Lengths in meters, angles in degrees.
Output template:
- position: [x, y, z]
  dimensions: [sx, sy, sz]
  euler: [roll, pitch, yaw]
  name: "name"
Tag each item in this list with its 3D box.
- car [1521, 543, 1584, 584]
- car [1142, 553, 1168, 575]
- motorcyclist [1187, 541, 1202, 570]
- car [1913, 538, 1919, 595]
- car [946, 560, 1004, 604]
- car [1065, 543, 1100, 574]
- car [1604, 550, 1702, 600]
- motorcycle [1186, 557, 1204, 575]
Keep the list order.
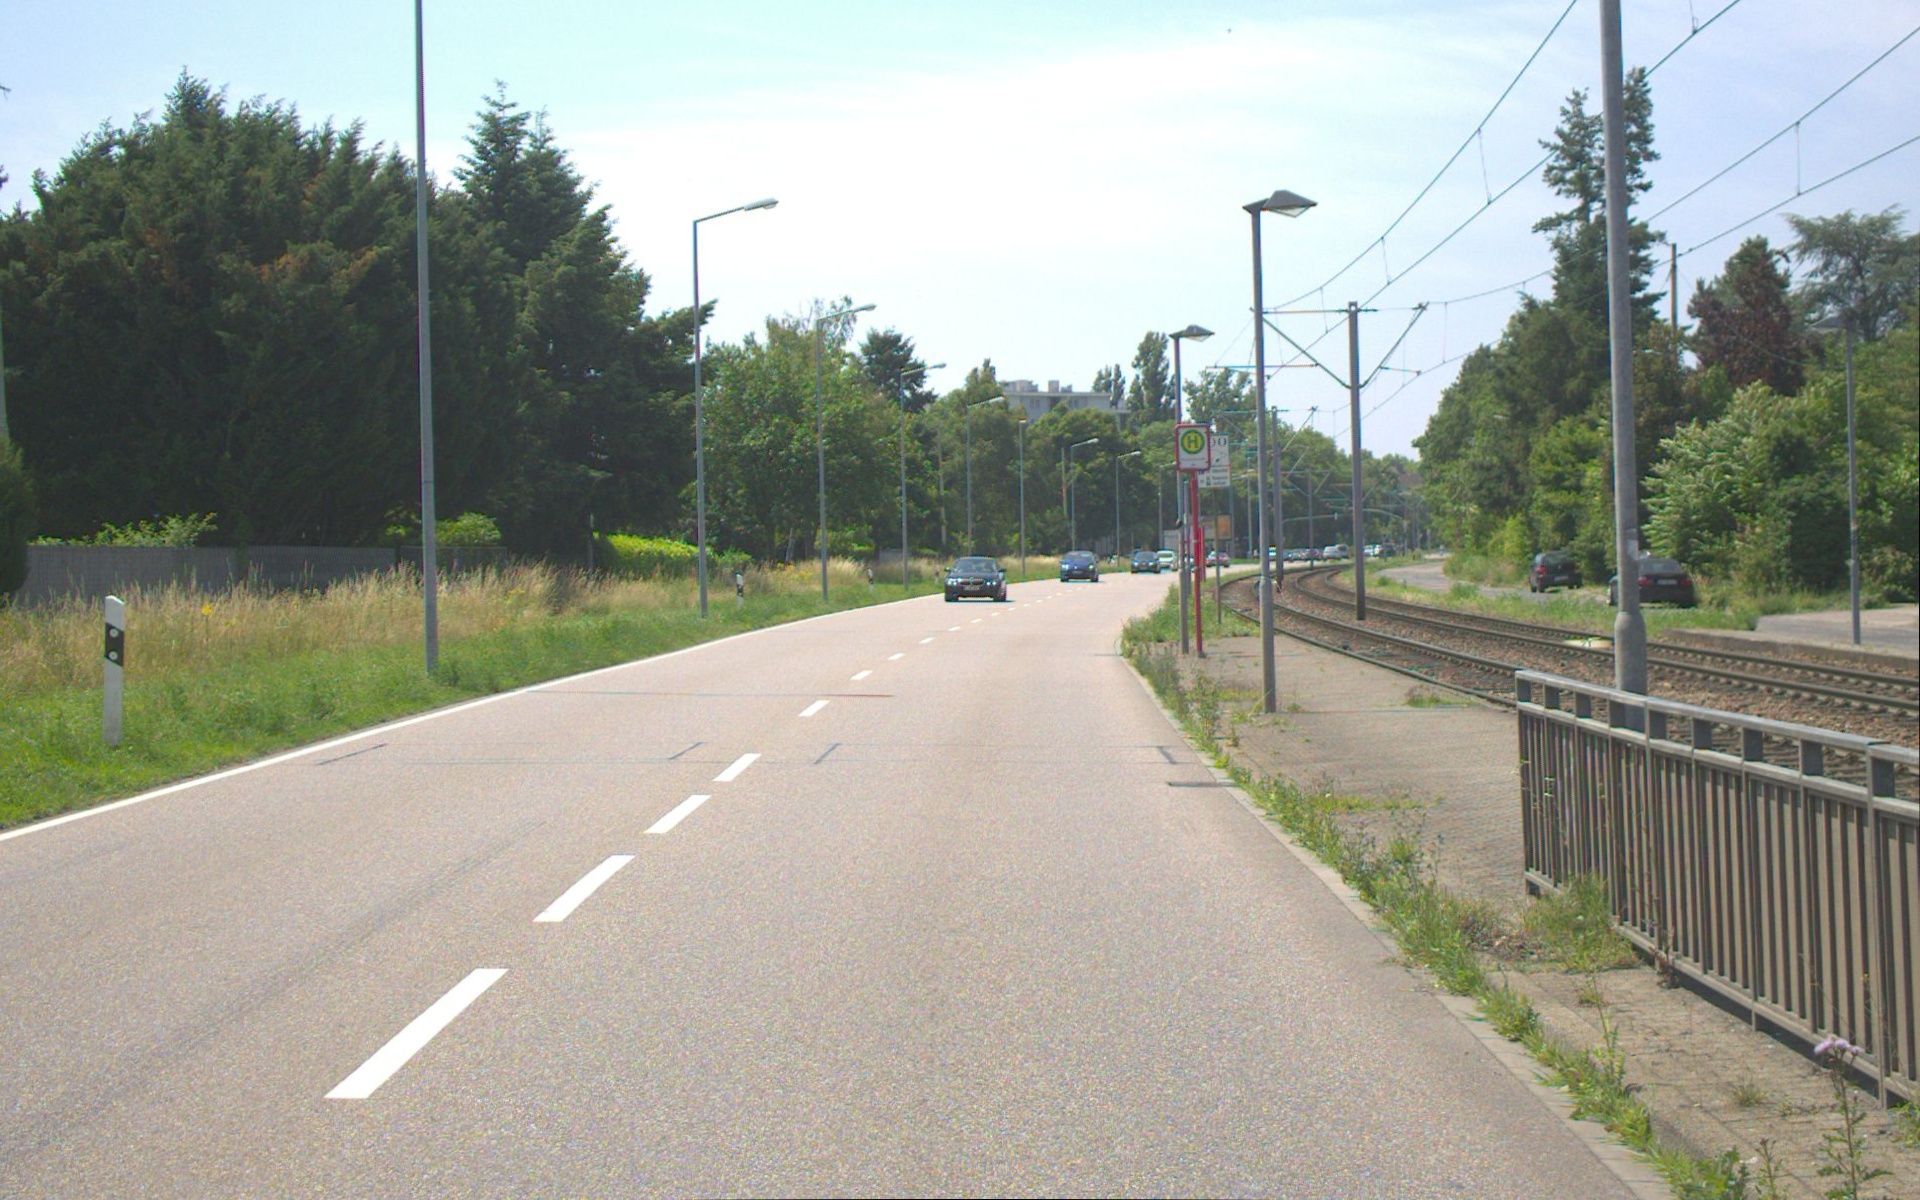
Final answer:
- position: [21.801, -1.329, 126.563]
  dimensions: [1.914, 1.465, 3.999]
  euler: [0, 0, 4]
  name: "car"
- position: [13.364, -2.437, 235.481]
  dimensions: [1.701, 1.486, 4.439]
  euler: [0, 0, 4]
  name: "car"
- position: [15.245, -2.884, 223.369]
  dimensions: [0.892, 1.898, 1.015]
  euler: [0, 0, 9]
  name: "motorcyclist"
- position: [24.717, -0.818, 84.313]
  dimensions: [1.720, 1.414, 3.739]
  euler: [0, 0, 2]
  name: "car"
- position: [0.499, -0.603, 112.860]
  dimensions: [1.706, 1.400, 4.707]
  euler: [0, 0, 3]
  name: "car"
- position: [6.483, -2.172, 181.397]
  dimensions: [1.747, 1.626, 4.029]
  euler: [0, 0, 3]
  name: "car"
- position: [18.804, -0.683, 93.475]
  dimensions: [1.861, 1.325, 4.515]
  euler: [0, 0, 2]
  name: "car"
- position: [15.270, -2.202, 223.542]
  dimensions: [0.970, 1.114, 2.732]
  euler: [0, 0, 9]
  name: "motorcycle"
